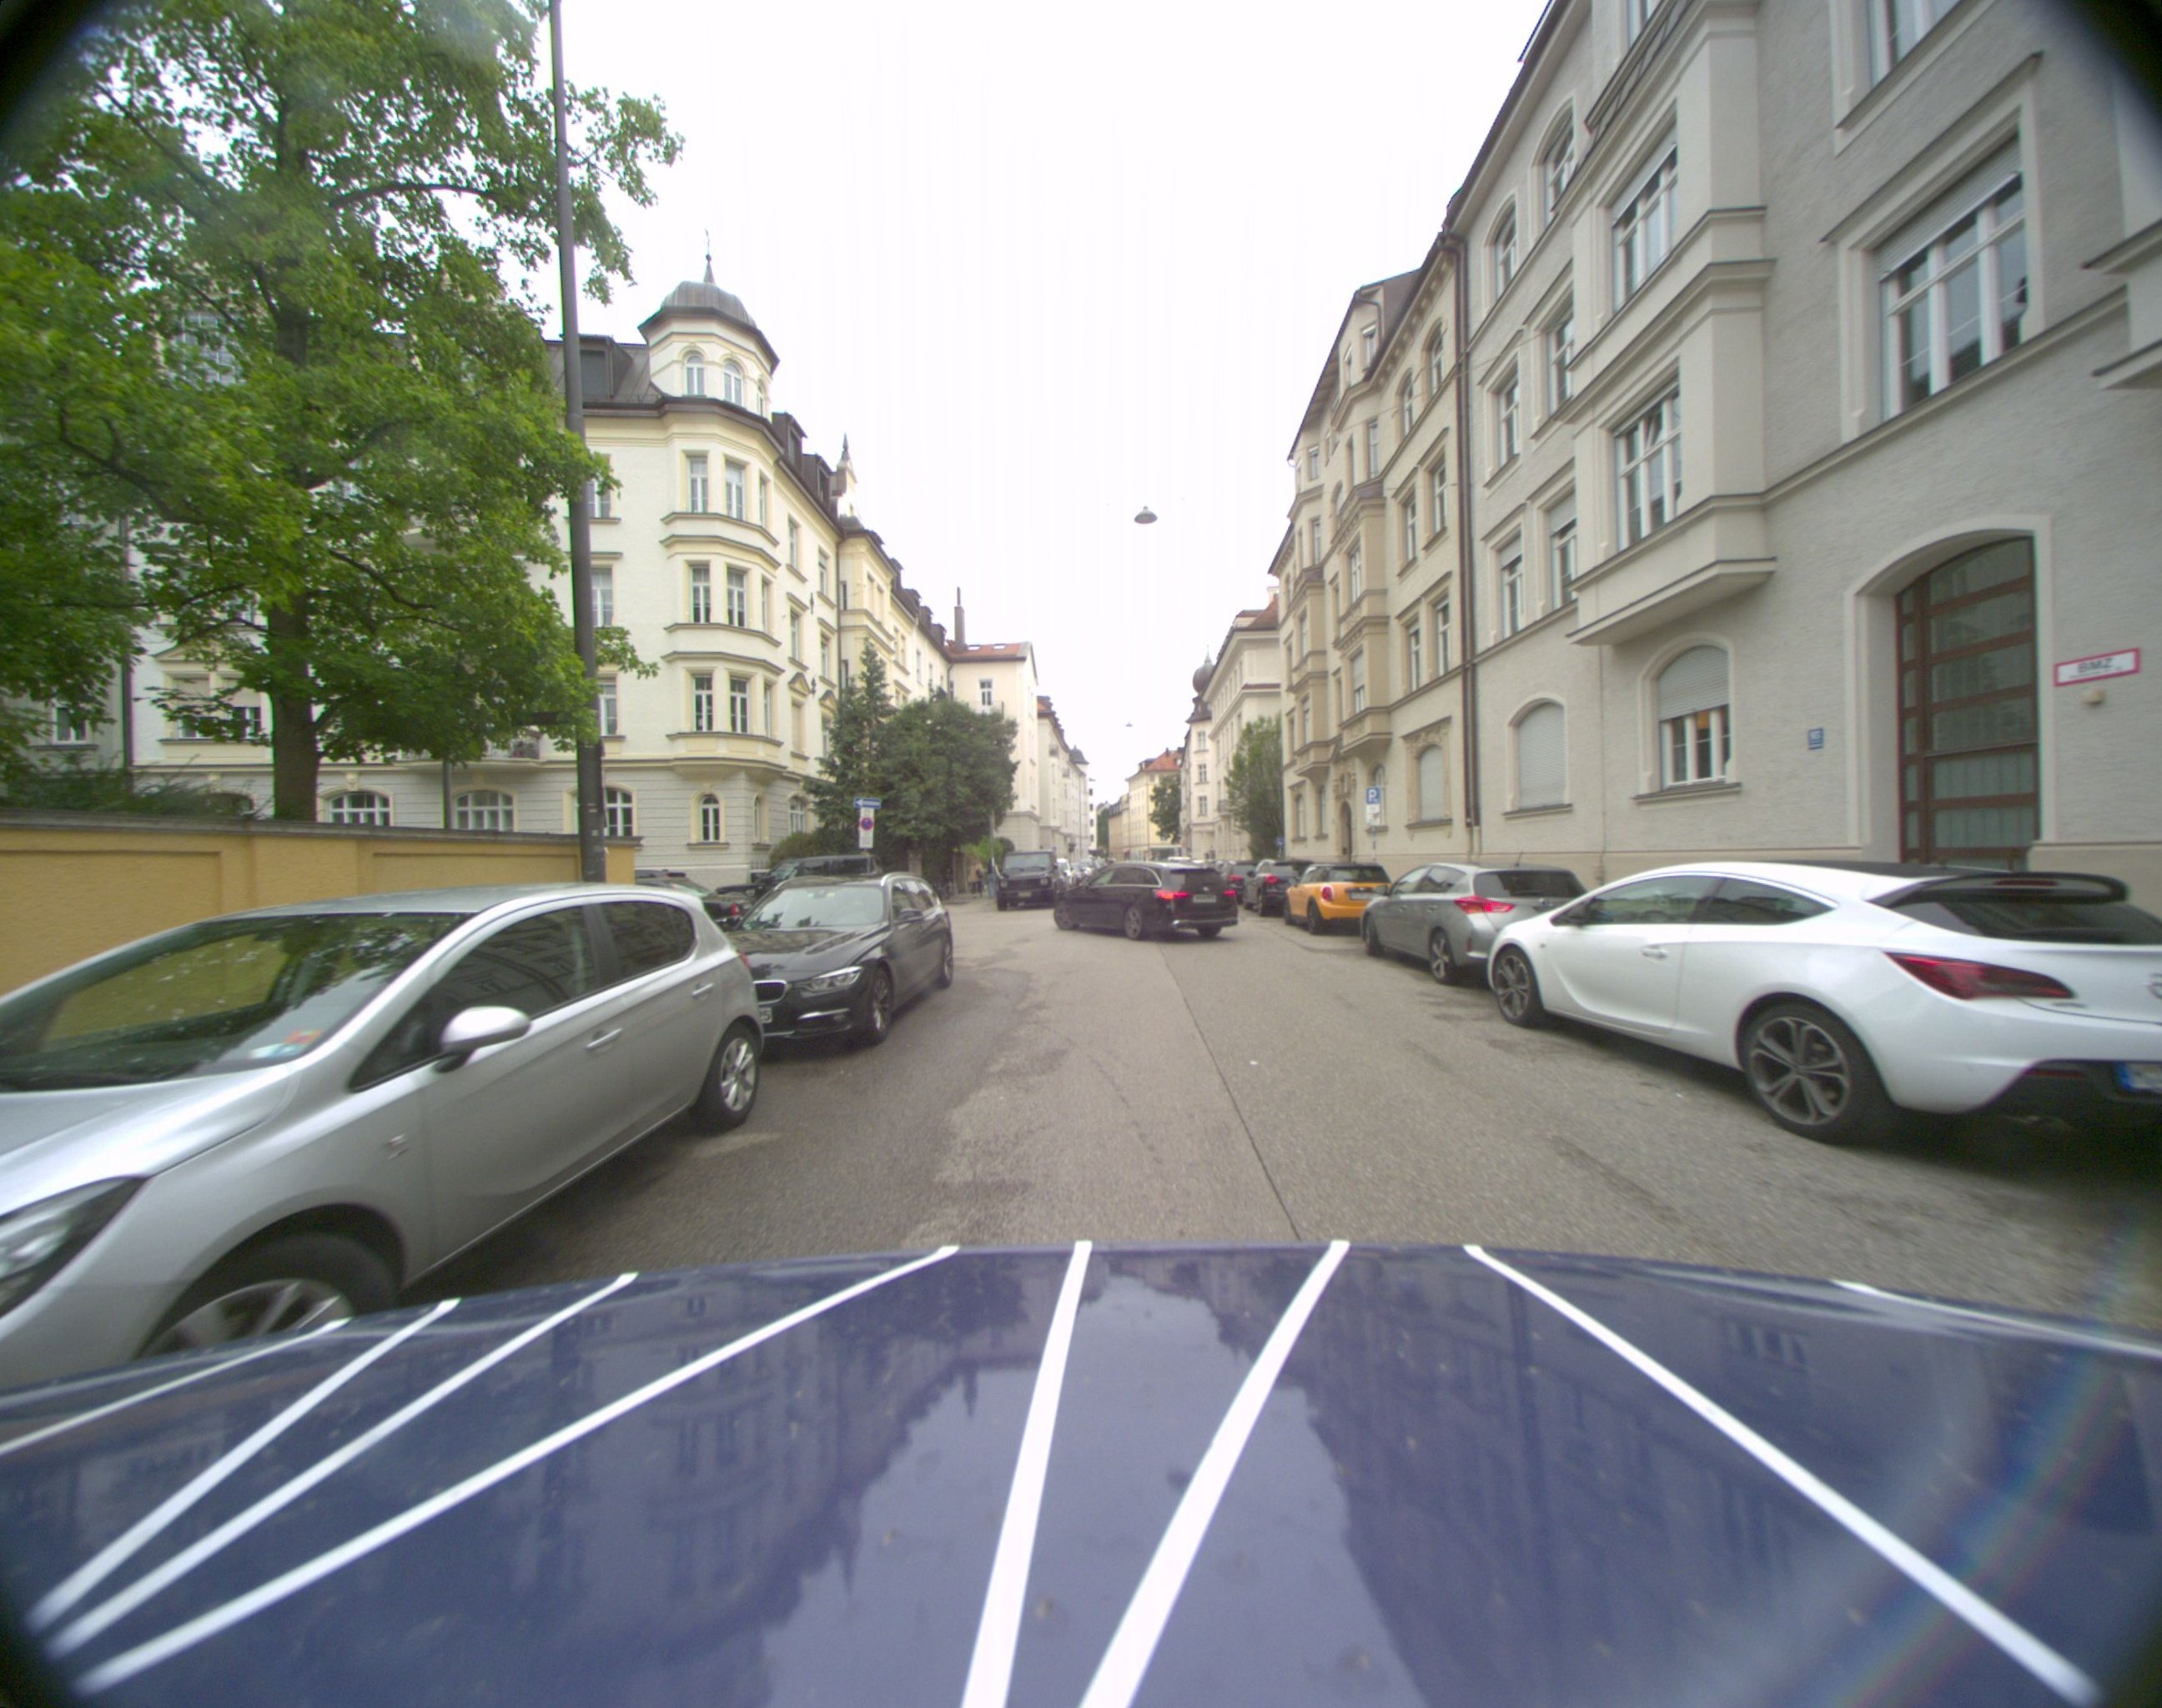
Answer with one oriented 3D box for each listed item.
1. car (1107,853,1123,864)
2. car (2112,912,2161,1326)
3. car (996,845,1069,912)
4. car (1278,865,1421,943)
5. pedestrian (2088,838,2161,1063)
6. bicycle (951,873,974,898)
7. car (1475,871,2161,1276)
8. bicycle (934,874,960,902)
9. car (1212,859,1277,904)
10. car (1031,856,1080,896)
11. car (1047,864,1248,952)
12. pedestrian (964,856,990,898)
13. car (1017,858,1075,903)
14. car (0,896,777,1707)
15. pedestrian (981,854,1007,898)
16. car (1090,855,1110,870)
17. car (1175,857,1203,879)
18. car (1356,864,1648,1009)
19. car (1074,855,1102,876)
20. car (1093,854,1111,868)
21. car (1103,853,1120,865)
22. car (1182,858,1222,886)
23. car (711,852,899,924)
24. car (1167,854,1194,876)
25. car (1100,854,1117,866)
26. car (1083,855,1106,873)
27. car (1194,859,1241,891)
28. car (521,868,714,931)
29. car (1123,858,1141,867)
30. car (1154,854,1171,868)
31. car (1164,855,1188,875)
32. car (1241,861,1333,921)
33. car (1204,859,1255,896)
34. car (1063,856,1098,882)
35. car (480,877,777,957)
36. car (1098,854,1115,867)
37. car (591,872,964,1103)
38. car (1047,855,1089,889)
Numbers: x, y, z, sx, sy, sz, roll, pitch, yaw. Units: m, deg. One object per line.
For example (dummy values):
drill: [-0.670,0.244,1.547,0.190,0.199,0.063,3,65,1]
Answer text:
car: [5.543,0.719,122.518,1.997,1.585,4.302,-5,-1,9]
car: [4.587,0.916,0.509,1.860,1.404,4.379,0,0,1]
car: [-1.550,0.779,25.881,1.998,1.949,4.433,-5,-1,1]
car: [5.348,0.931,15.649,1.809,1.355,3.730,0,0,3]
pedestrian: [8.124,0.680,5.269,0.876,1.599,1.052,-1,1,2]
bicycle: [-4.950,1.306,31.841,0.448,0.979,1.780,-2,0,8]
car: [4.688,0.900,5.114,1.860,1.455,4.379,0,0,1]
bicycle: [-5.166,1.295,29.385,0.448,0.979,1.780,-2,0,8]
car: [5.560,0.889,26.231,1.626,1.421,3.942,0,0,4]
car: [-1.148,1.002,36.061,1.998,1.643,4.449,-5,-1,1]
car: [1.107,0.933,15.056,1.796,1.405,4.572,-1,0,-27]
pedestrian: [-4.273,0.930,31.261,0.876,1.680,1.052,-1,1,2]
car: [-1.338,1.026,30.893,1.998,1.585,3.855,-5,-1,1]
car: [-2.910,1.015,2.930,1.717,1.445,4.184,-1,0,1]
pedestrian: [-3.555,0.871,31.093,0.876,1.745,1.052,-1,1,2]
car: [2.294,0.946,88.724,1.998,1.585,4.300,-5,-1,4]
car: [7.292,0.911,51.343,1.626,1.421,3.690,0,0,4]
car: [5.120,0.893,9.938,1.809,1.455,3.938,0,0,3]
car: [0.644,0.968,64.059,1.998,1.585,4.300,-5,-1,4]
car: [2.803,0.913,98.311,1.998,1.585,4.300,-5,-1,4]
car: [4.588,0.699,113.687,1.997,1.585,4.301,-5,-1,8]
car: [6.459,0.934,40.840,1.627,1.421,3.689,0,0,1]
car: [-7.691,0.952,21.532,4.678,1.860,1.743,-1,-2,-3]
car: [7.343,0.785,56.129,1.627,1.522,3.690,0,0,2]
car: [3.992,0.854,108.837,1.998,1.585,4.429,-5,-1,6]
car: [1.449,1.020,78.022,1.998,1.585,4.300,-5,-1,4]
car: [6.463,0.950,36.300,1.627,1.421,3.689,0,0,1]
car: [-12.747,1.235,21.086,4.224,1.577,1.743,-1,-2,-3]
car: [9.466,1.615,142.261,2.002,1.641,3.994,-2,0,-19]
car: [8.842,0.754,82.714,1.627,1.522,3.921,0,0,2]
car: [7.663,0.855,61.564,1.627,1.522,3.921,0,0,2]
car: [5.451,0.923,20.576,1.626,1.447,3.942,0,0,3]
car: [6.037,0.910,31.129,1.626,1.421,3.589,0,0,4]
car: [0.037,1.014,53.197,1.998,1.585,4.300,-5,-1,4]
car: [-9.098,1.237,15.621,4.954,1.404,1.742,-1,0,-5]
car: [3.504,0.861,103.419,1.998,1.672,4.301,-5,-1,6]
car: [-2.482,0.984,7.735,1.717,1.445,4.955,-1,0,1]
car: [-0.647,0.920,41.002,1.998,1.585,4.299,-5,-1,1]
